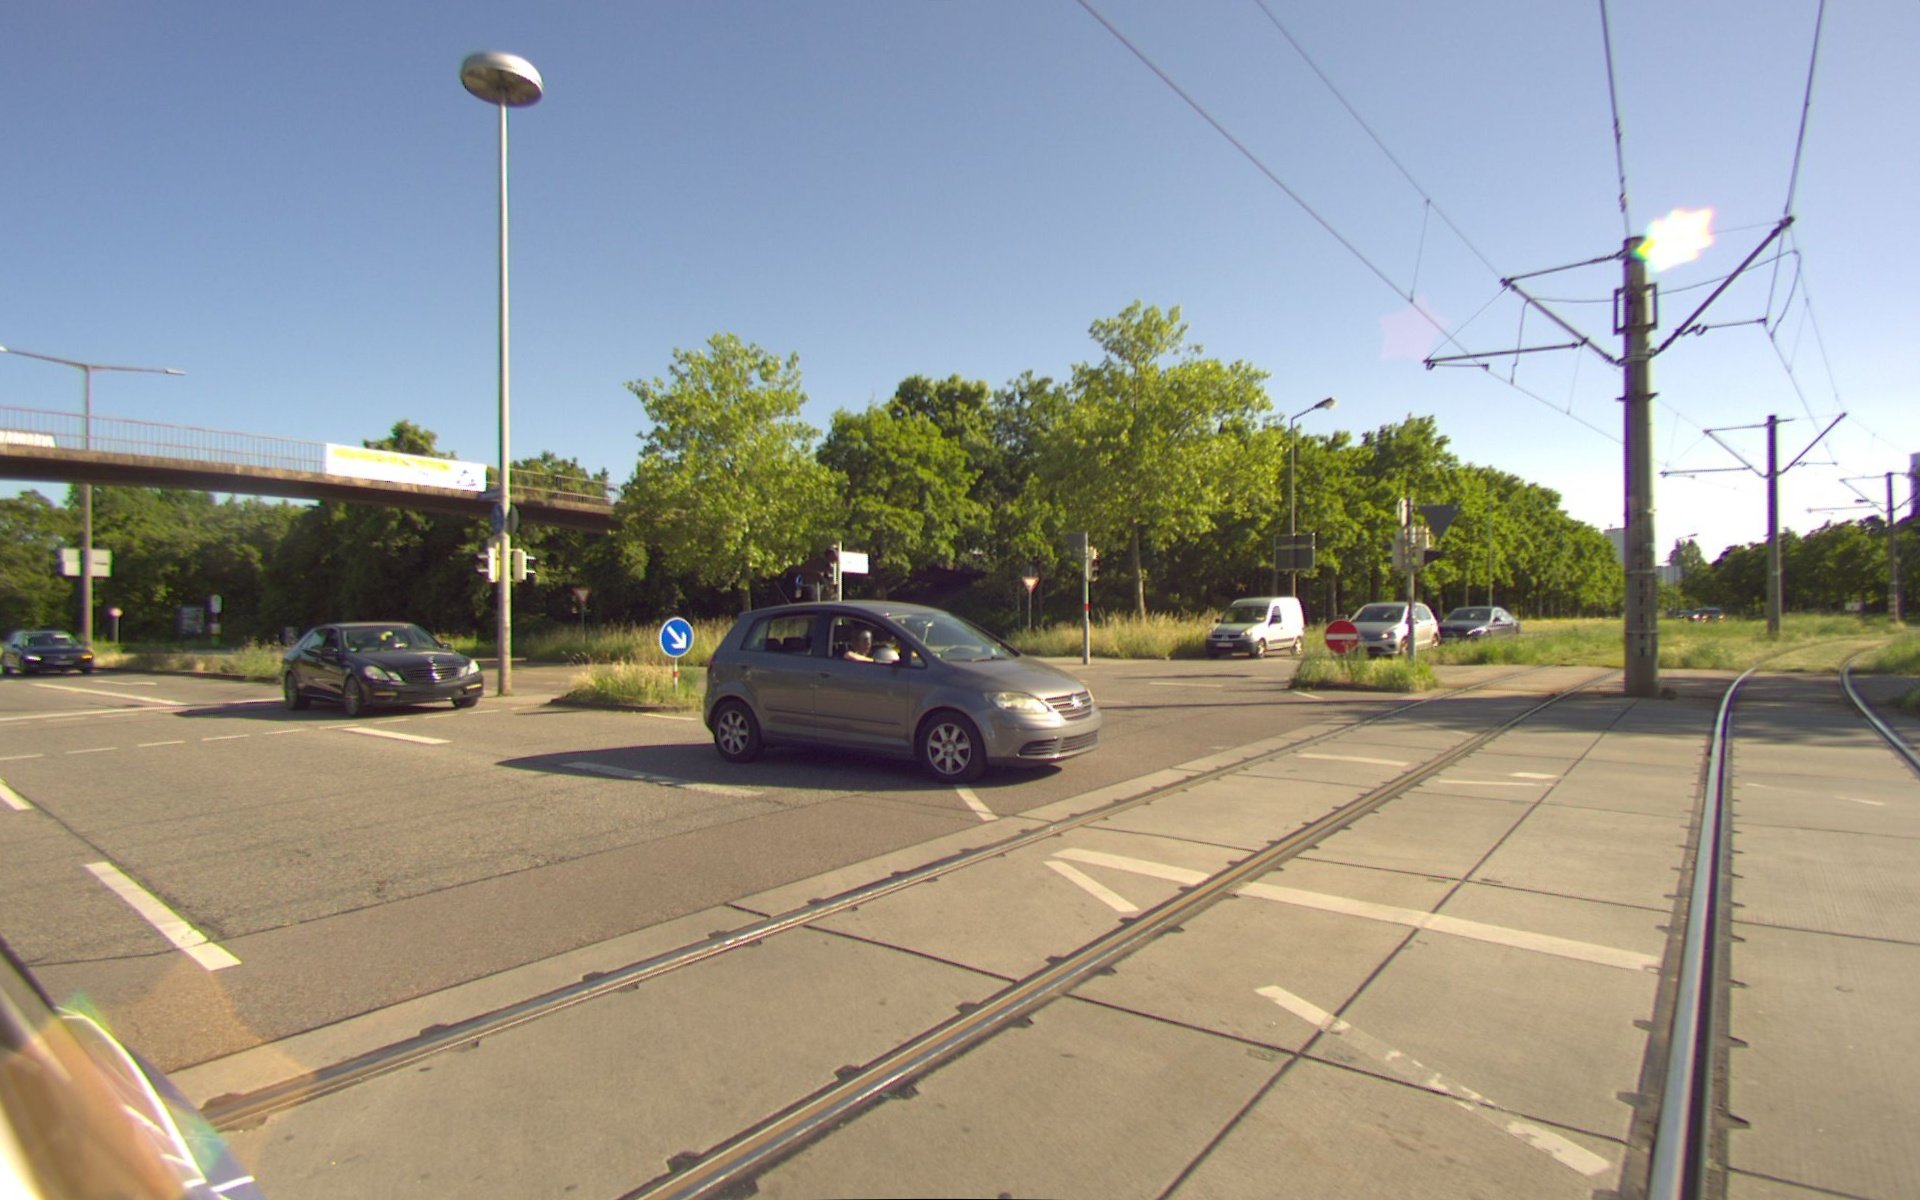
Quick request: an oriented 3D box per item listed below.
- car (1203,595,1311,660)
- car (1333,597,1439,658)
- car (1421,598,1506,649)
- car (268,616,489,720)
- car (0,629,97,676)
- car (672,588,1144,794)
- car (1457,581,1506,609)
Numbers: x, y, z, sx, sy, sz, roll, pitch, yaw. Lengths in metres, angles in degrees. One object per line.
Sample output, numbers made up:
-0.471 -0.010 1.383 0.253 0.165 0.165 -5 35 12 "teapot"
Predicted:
8.774 0.778 29.695 1.774 1.768 3.951 -2 -1 36 "car"
11.956 0.734 28.300 1.849 1.572 3.877 -2 -1 36 "car"
16.703 0.754 33.485 1.849 1.572 3.877 -2 -1 36 "car"
-9.877 1.080 17.031 4.525 1.498 1.756 -2 -1 40 "car"
-30.909 1.763 34.105 3.990 1.507 1.776 -2 -2 34 "car"
-0.620 0.753 9.794 4.376 1.582 1.826 -1 -1 35 "car"
31.282 -0.281 60.652 1.850 1.572 3.875 -2 -1 39 "car"
